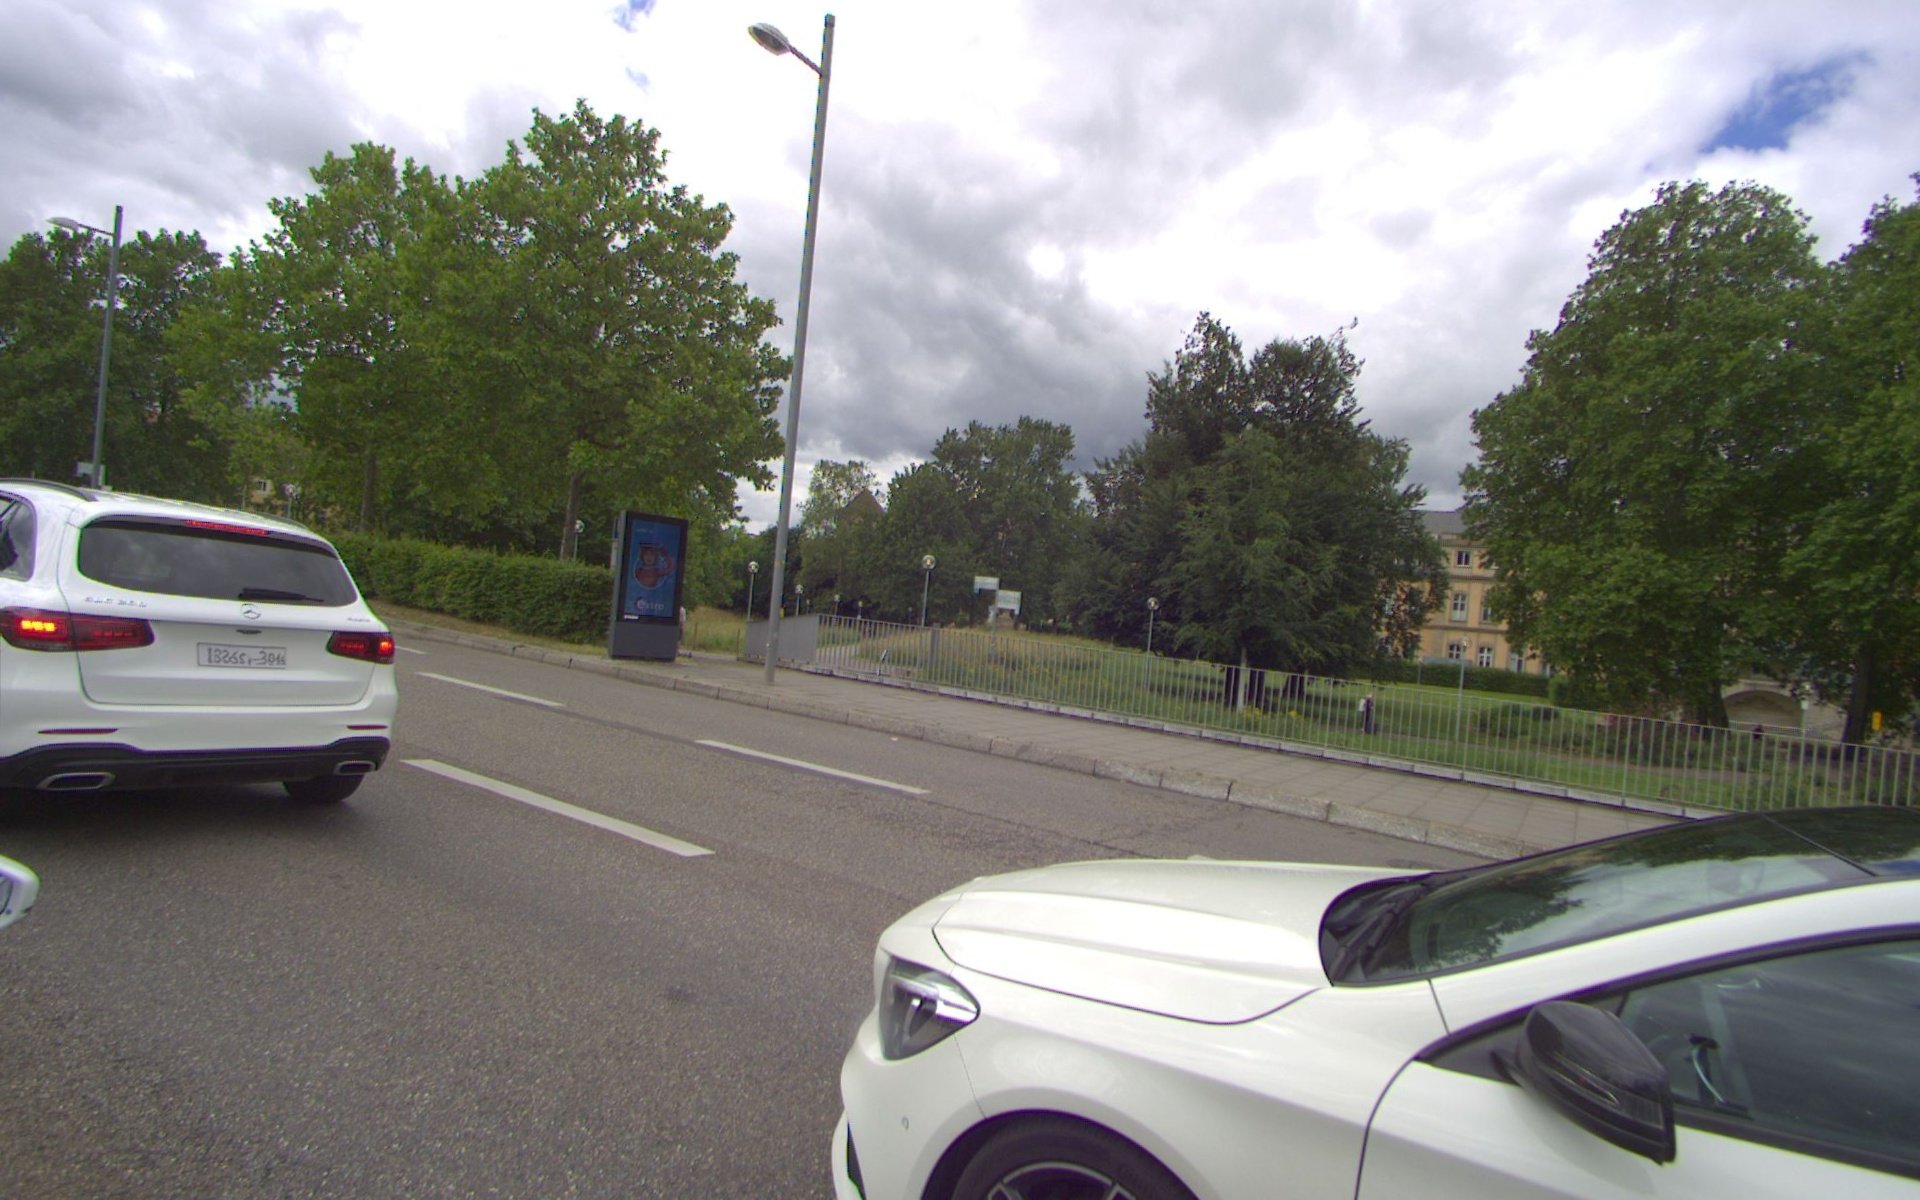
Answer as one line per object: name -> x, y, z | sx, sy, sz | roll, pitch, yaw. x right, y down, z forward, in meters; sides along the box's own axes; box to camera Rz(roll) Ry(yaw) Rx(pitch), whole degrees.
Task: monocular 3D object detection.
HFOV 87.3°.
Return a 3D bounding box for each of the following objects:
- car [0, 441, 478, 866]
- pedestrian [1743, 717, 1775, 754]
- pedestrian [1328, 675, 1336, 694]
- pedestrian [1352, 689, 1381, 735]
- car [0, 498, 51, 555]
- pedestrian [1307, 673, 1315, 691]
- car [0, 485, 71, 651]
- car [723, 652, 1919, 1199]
car -> -5.098, 0.101, 5.934 | 4.417, 1.673, 1.929 | 6, -1, 33
pedestrian -> 48.275, 8.159, 60.787 | 0.925, 2.036, 1.107 | 6, -2, 2
pedestrian -> 36.077, 8.200, 97.553 | 0.460, 1.725, 0.405 | 5, -2, 32
pedestrian -> 15.052, 4.149, 37.277 | 0.645, 1.619, 0.684 | 6, -2, 1
car -> -29.225, -2.302, 30.224 | 4.459, 1.476, 1.932 | 5, -3, 37
pedestrian -> 34.220, 7.988, 98.014 | 0.400, 1.756, 0.467 | 7, -2, -17
car -> -11.357, -0.540, 10.486 | 4.417, 1.569, 1.929 | 6, -2, 33
car -> 1.842, 1.087, 1.841 | 4.454, 1.436, 1.796 | 5, -2, 33
